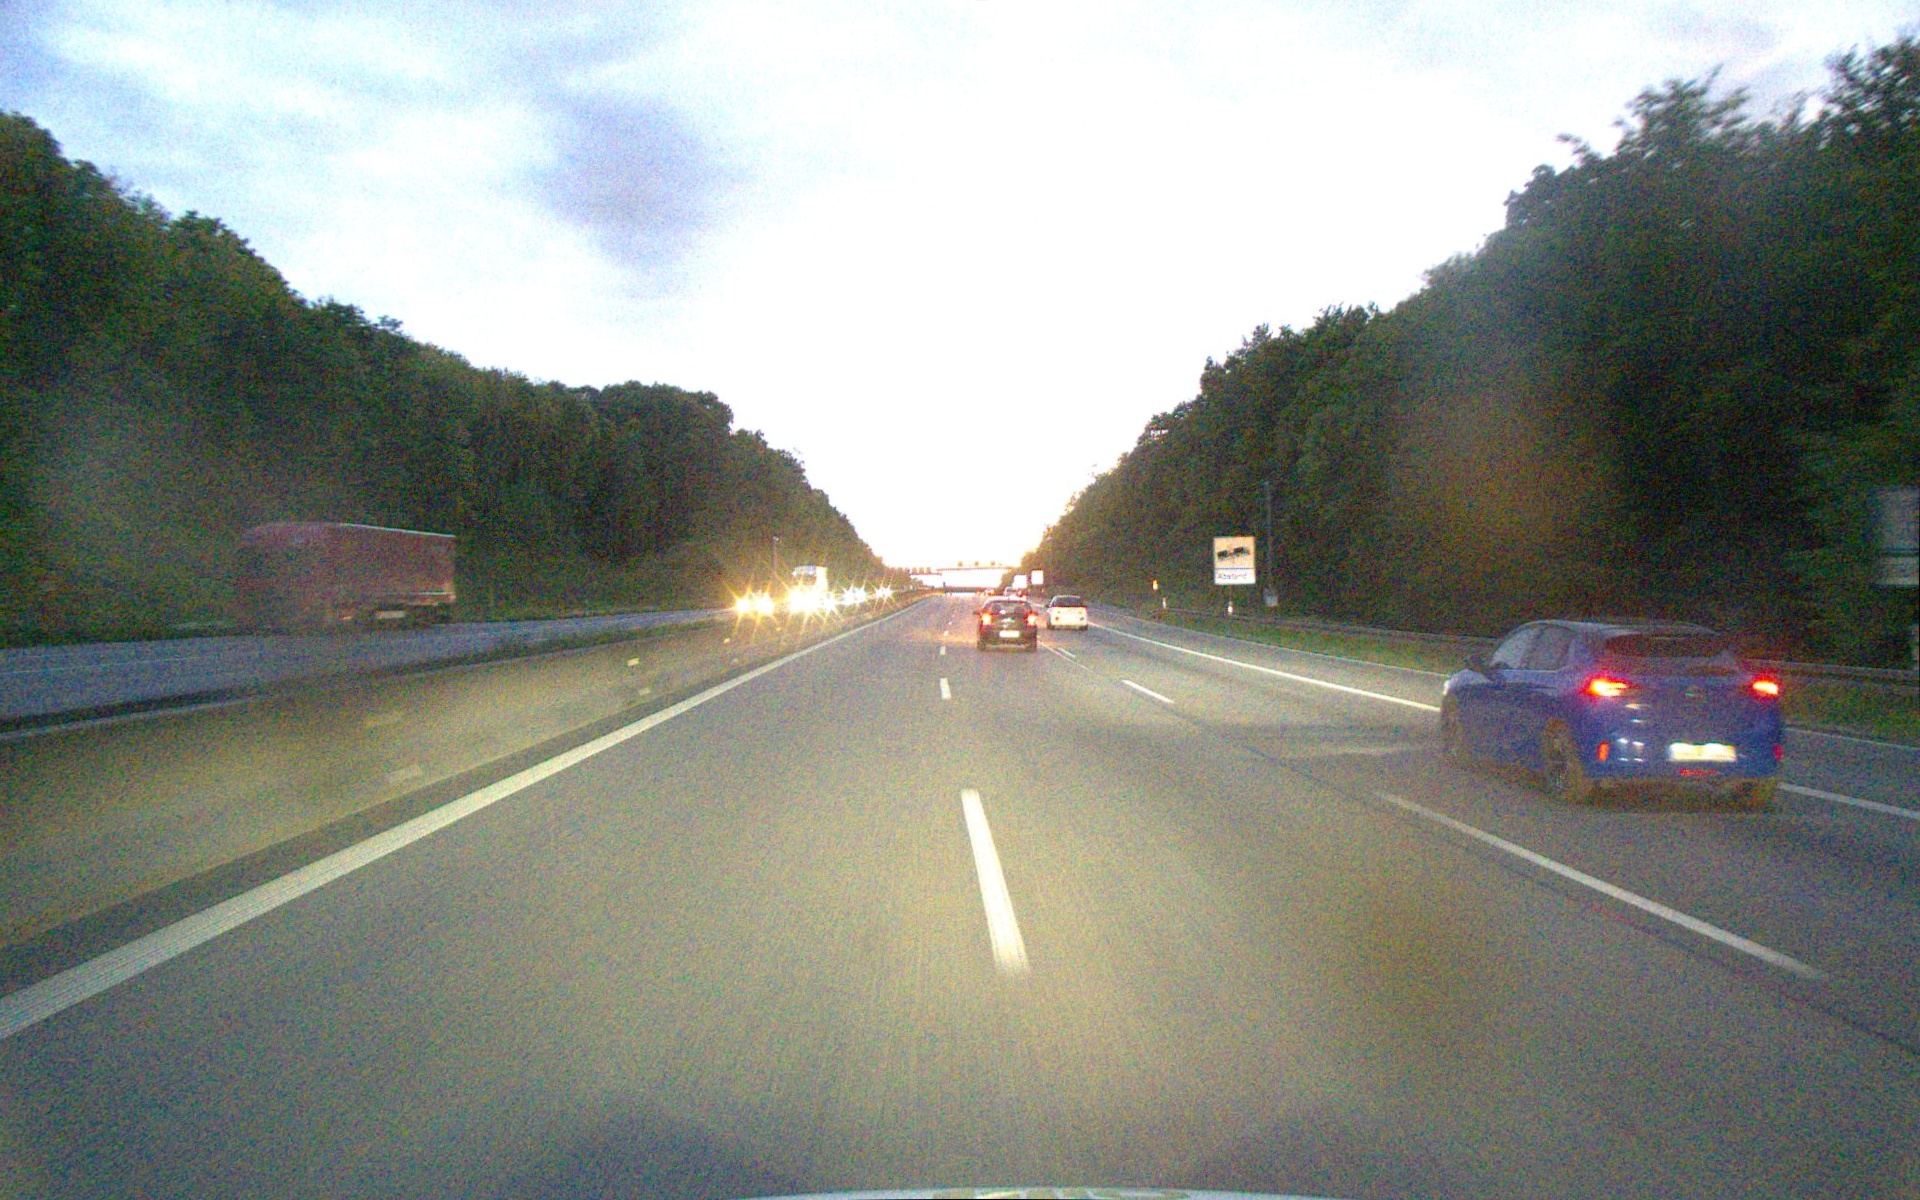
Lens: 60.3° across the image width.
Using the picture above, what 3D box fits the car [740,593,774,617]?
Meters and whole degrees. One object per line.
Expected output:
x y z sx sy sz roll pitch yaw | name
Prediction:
-13.036 0.299 106.384 1.652 1.541 4.414 0 0 0 | car

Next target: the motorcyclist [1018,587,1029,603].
5.011 -0.402 131.334 0.813 1.314 1.190 0 0 0 | motorcyclist

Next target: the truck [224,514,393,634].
-24.218 -0.909 62.017 3.125 4.176 7.690 0 0 1 | truck

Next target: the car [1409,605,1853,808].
5.569 0.793 14.456 1.828 1.461 4.581 1 0 -3 | car

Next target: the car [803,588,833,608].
-9.981 -0.137 116.378 1.813 1.406 4.643 0 0 -2 | car

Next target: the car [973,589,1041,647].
1.286 0.508 46.586 1.669 1.536 4.230 1 -1 -1 | car

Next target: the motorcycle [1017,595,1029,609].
5.016 0.156 131.396 0.813 1.154 2.476 0 0 0 | motorcycle

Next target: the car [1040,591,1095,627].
4.666 0.420 72.446 1.790 1.501 4.394 1 -1 -4 | car

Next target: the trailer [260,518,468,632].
-24.109 -0.905 68.141 3.125 4.176 14.185 0 0 1 | trailer

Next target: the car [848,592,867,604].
-12.542 -0.259 202.634 1.871 1.477 5.355 0 0 1 | car

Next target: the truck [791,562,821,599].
-17.068 -2.151 184.148 2.592 4.041 7.122 0 0 0 | truck

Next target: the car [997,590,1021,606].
4.769 -0.202 161.757 1.828 1.520 4.394 1 -1 -4 | car
